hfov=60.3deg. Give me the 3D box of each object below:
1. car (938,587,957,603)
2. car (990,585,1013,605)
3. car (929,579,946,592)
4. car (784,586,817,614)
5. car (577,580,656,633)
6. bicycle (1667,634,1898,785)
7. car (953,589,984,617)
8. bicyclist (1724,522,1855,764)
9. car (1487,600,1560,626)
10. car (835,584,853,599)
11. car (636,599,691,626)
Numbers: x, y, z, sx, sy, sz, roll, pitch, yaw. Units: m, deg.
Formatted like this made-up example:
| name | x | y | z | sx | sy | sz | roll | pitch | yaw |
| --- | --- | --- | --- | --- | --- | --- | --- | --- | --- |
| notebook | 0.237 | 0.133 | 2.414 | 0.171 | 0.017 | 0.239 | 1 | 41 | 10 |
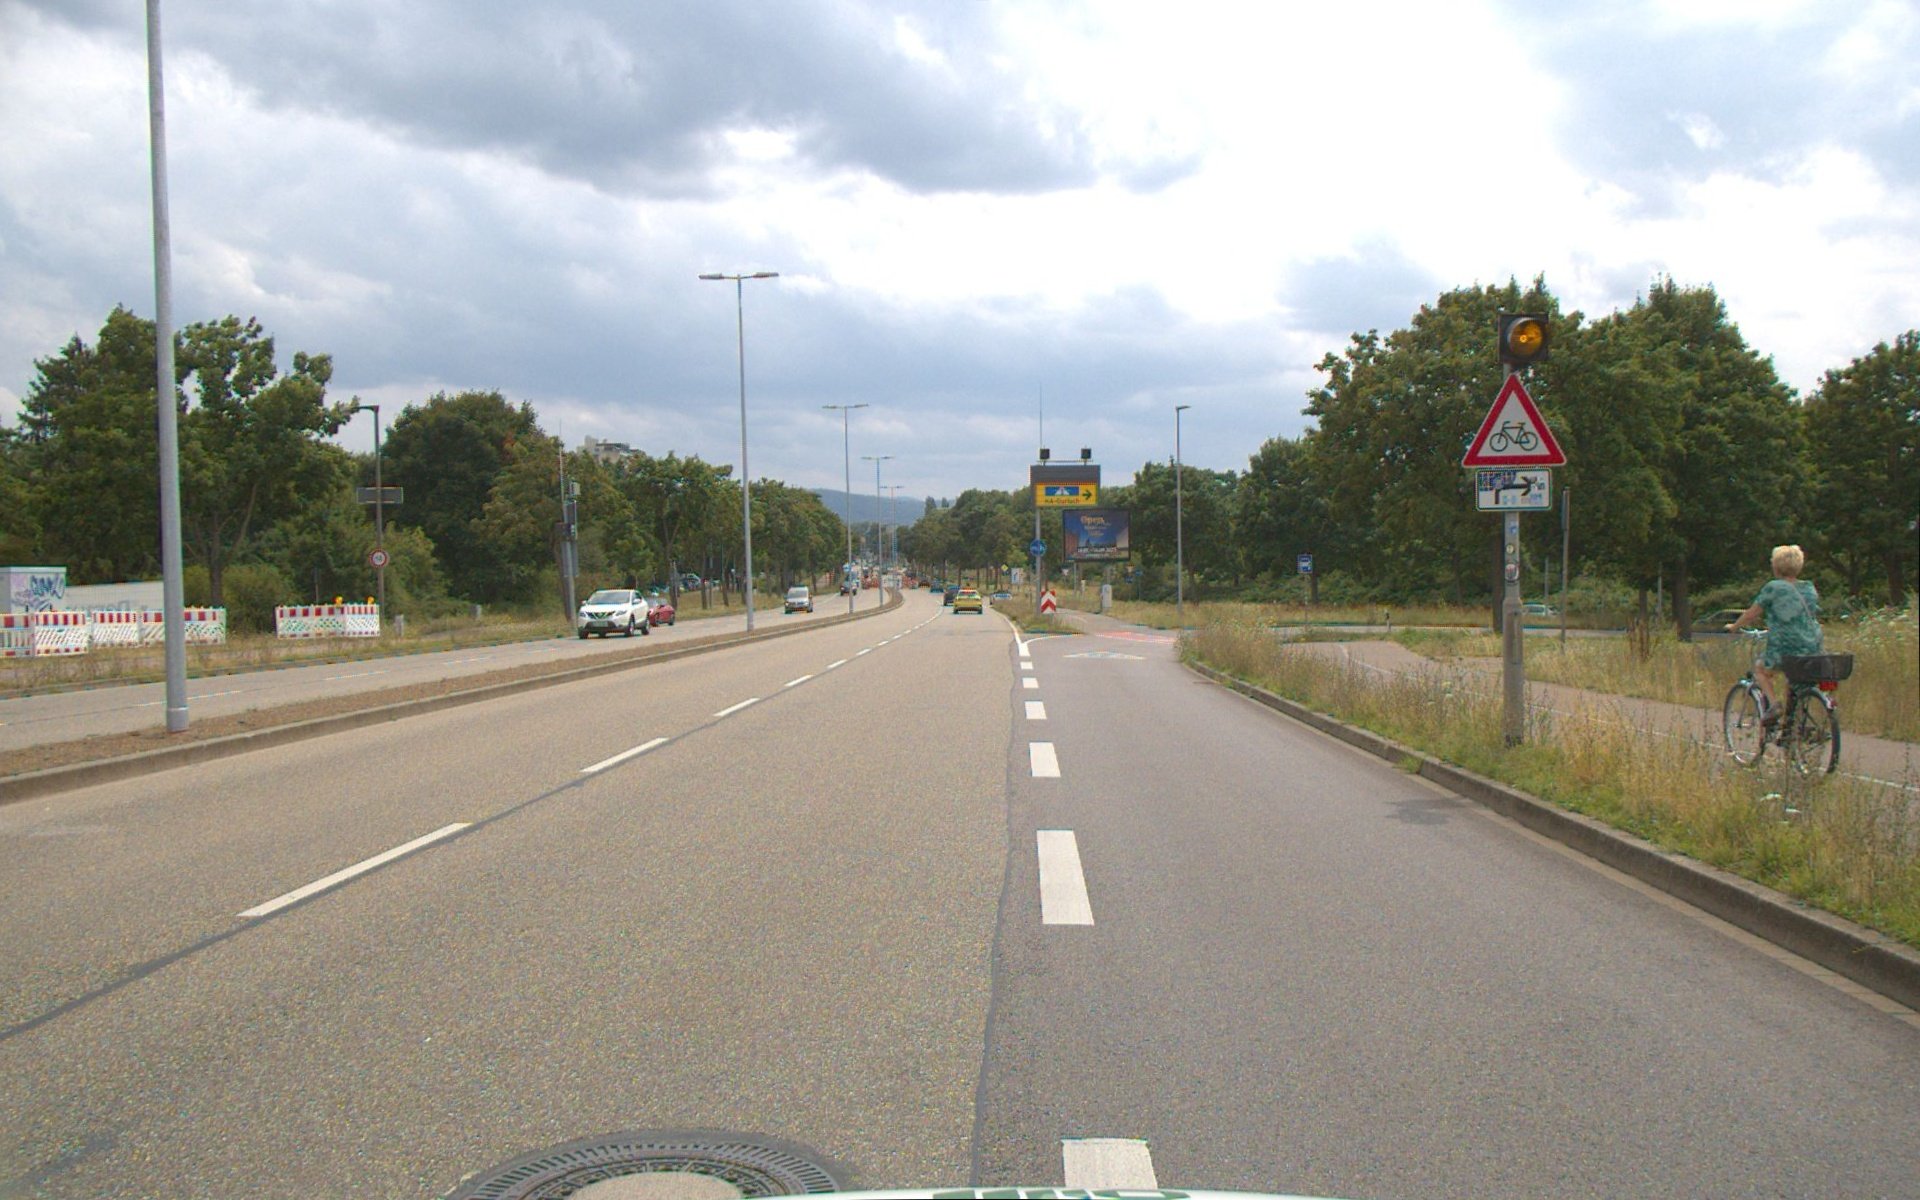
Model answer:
| name | x | y | z | sx | sy | sz | roll | pitch | yaw |
| --- | --- | --- | --- | --- | --- | --- | --- | --- | --- |
| car | -1.108 | -0.484 | 144.598 | 1.633 | 1.292 | 4.000 | 0 | 2 | -1 |
| car | 3.840 | -0.468 | 153.130 | 1.973 | 1.699 | 4.000 | 0 | 2 | -1 |
| car | -3.005 | -2.009 | 223.255 | 2.161 | 1.713 | 4.000 | 0 | 2 | 0 |
| car | -11.281 | -0.022 | 116.881 | 1.863 | 1.841 | 4.540 | 0 | 2 | 0 |
| car | -11.662 | 0.172 | 56.344 | 1.659 | 1.657 | 4.385 | 0 | 2 | 1 |
| bicycle | 5.970 | 0.757 | 12.162 | 0.610 | 0.904 | 2.154 | 0 | 2 | -1 |
| car | 0.517 | 0.176 | 101.369 | 1.757 | 1.589 | 4.000 | 0 | 2 | -1 |
| bicyclist | 5.974 | 0.293 | 11.939 | 0.609 | 1.695 | 0.669 | 0 | 1 | -1 |
| car | 34.671 | 0.783 | 101.777 | 3.928 | 1.489 | 1.762 | 1 | 2 | 42 |
| car | -14.763 | -1.085 | 210.841 | 1.953 | 1.843 | 4.797 | -1 | 2 | -1 |
| car | -14.711 | 0.616 | 82.223 | 1.373 | 1.266 | 3.895 | 1 | 1 | 10 |
